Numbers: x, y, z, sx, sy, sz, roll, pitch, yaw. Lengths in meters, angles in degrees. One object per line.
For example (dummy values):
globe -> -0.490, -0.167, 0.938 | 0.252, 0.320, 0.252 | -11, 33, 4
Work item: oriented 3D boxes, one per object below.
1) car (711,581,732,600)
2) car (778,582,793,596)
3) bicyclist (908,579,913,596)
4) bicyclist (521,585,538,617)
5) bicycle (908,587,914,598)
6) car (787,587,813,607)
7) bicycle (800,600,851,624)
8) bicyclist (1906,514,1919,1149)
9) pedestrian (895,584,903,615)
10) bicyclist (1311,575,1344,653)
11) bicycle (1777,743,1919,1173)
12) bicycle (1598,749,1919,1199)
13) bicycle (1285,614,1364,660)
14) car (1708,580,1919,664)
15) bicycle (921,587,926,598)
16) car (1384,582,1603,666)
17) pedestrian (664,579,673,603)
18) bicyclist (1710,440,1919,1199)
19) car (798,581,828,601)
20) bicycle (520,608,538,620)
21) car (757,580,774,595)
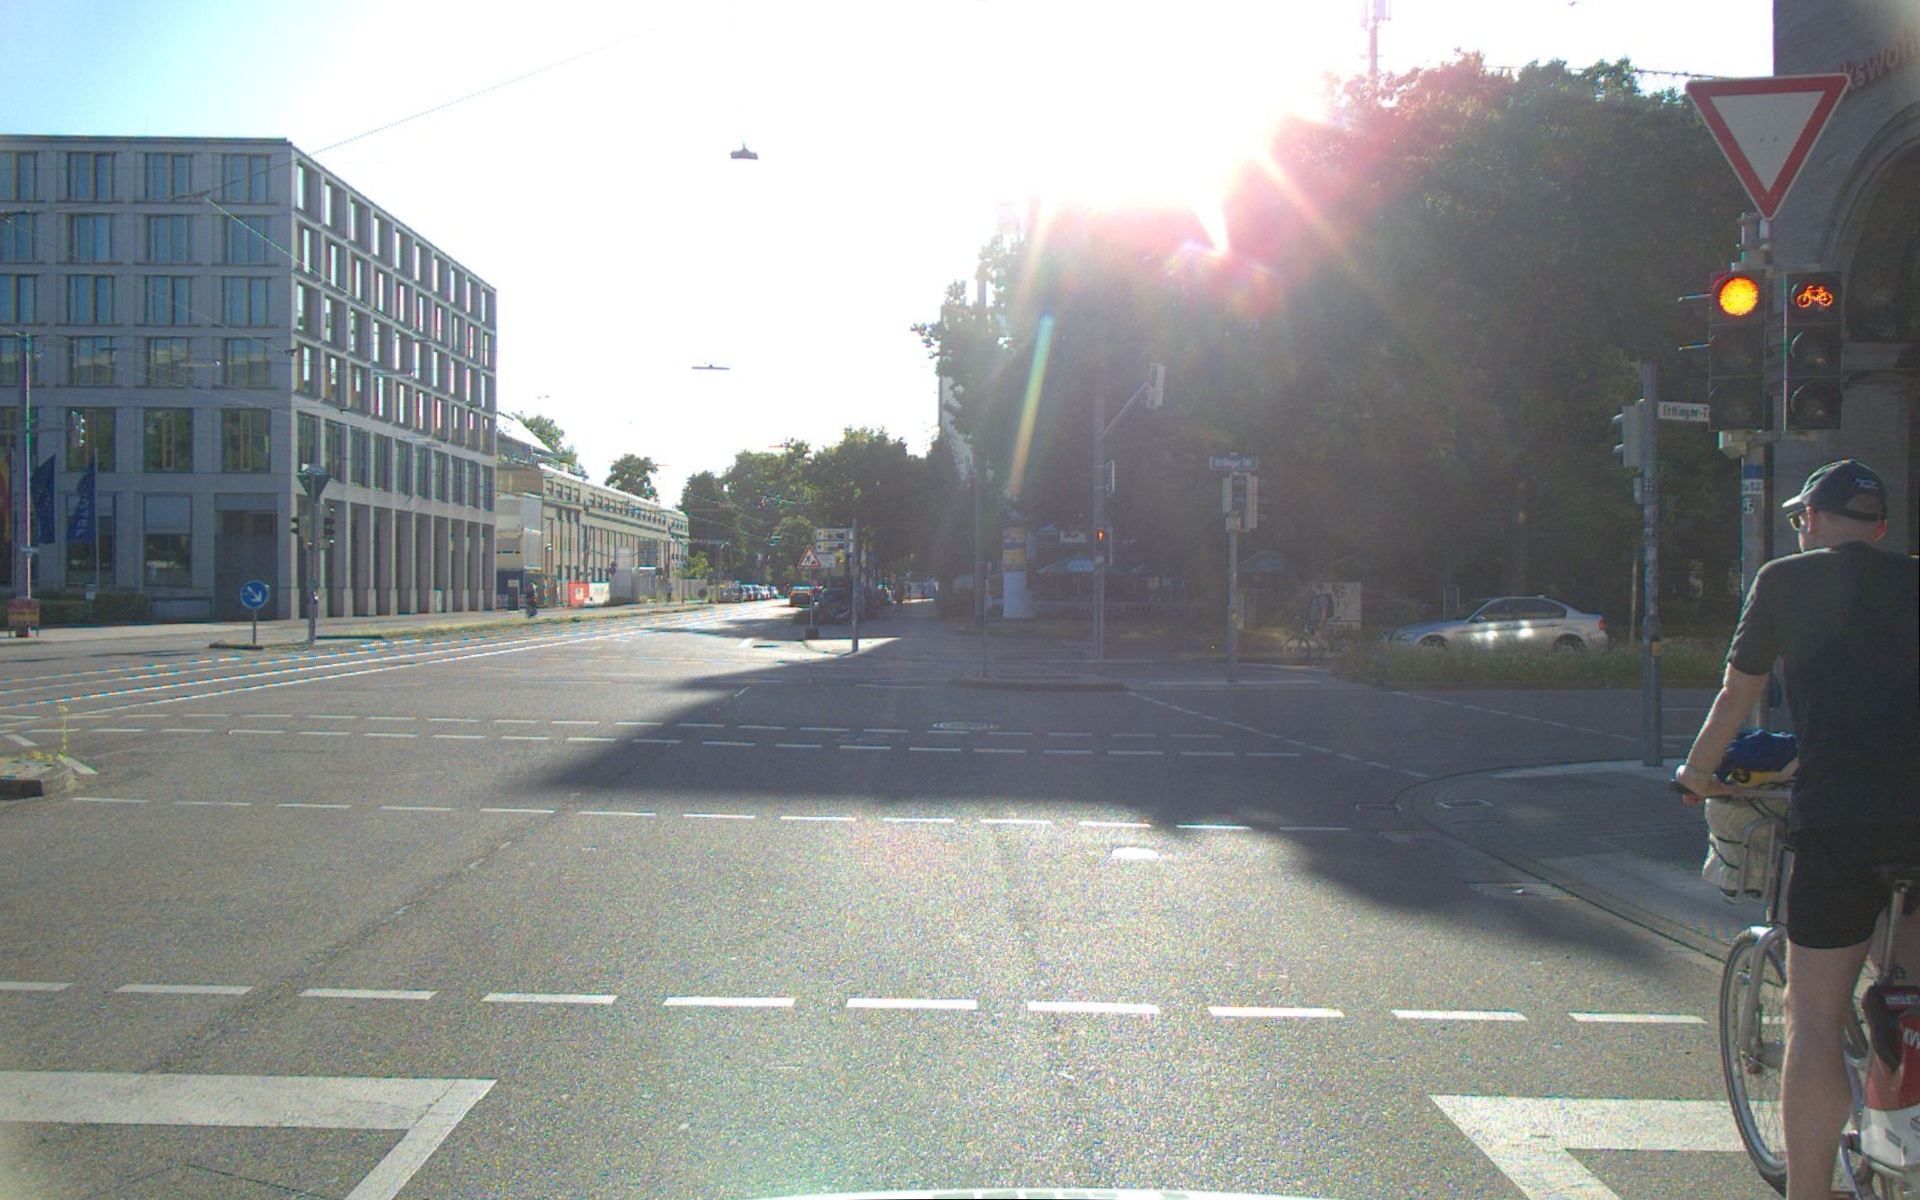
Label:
car -> -22.479, -0.907, 156.112 | 1.659, 1.748, 4.244 | 1, 0, -4
car -> -22.303, -1.428, 211.332 | 1.659, 1.748, 4.244 | 1, 0, -4
bicyclist -> -4.984, -1.216, 166.750 | 0.558, 1.721, 0.699 | 0, 0, -1
bicyclist -> -19.009, 0.028, 72.993 | 0.584, 1.401, 0.637 | 1, -1, -2
bicycle -> -4.977, -0.777, 166.750 | 0.563, 1.096, 1.830 | 0, 0, -1
car -> -11.913, -0.234, 123.422 | 1.626, 1.481, 4.431 | 1, 0, -2
bicycle -> -5.486, 0.505, 67.385 | 1.976, 0.907, 0.650 | -2, -1, 27
bicyclist -> 2.891, 0.632, 4.232 | 0.546, 1.721, 0.640 | 1, 0, -2
pedestrian -> -3.576, -0.031, 97.543 | 0.454, 1.845, 0.502 | 0, 0, -5
bicyclist -> 8.079, 0.301, 36.393 | 0.630, 1.712, 0.507 | 0, 0, 5
bicycle -> 2.866, 1.004, 4.340 | 0.523, 1.096, 1.750 | 1, 0, -2
bicycle -> 2.079, 0.985, 3.892 | 0.505, 1.096, 1.728 | 1, 0, 1
bicycle -> 8.011, 0.811, 36.400 | 1.631, 0.980, 0.534 | 0, 0, 5
car -> 17.455, 0.437, 33.630 | 3.770, 1.639, 1.650 | 0, 0, -1
bicycle -> -3.695, -0.756, 167.342 | 0.563, 1.096, 1.830 | 0, 0, -1
car -> 10.776, 0.478, 33.565 | 3.912, 1.639, 1.650 | 0, 0, -1
pedestrian -> -25.246, -0.806, 143.317 | 0.660, 2.049, 0.751 | 1, -1, -3
bicyclist -> 2.097, 0.582, 3.733 | 0.547, 1.830, 0.550 | 1, 0, 1
car -> -12.641, -0.793, 142.823 | 1.853, 1.592, 4.810 | 3, 1, 3
bicycle -> -19.009, 0.625, 72.978 | 0.491, 0.524, 1.257 | 1, 0, -2
car -> -22.840, -1.447, 194.361 | 1.659, 1.748, 4.244 | 1, 0, -4
